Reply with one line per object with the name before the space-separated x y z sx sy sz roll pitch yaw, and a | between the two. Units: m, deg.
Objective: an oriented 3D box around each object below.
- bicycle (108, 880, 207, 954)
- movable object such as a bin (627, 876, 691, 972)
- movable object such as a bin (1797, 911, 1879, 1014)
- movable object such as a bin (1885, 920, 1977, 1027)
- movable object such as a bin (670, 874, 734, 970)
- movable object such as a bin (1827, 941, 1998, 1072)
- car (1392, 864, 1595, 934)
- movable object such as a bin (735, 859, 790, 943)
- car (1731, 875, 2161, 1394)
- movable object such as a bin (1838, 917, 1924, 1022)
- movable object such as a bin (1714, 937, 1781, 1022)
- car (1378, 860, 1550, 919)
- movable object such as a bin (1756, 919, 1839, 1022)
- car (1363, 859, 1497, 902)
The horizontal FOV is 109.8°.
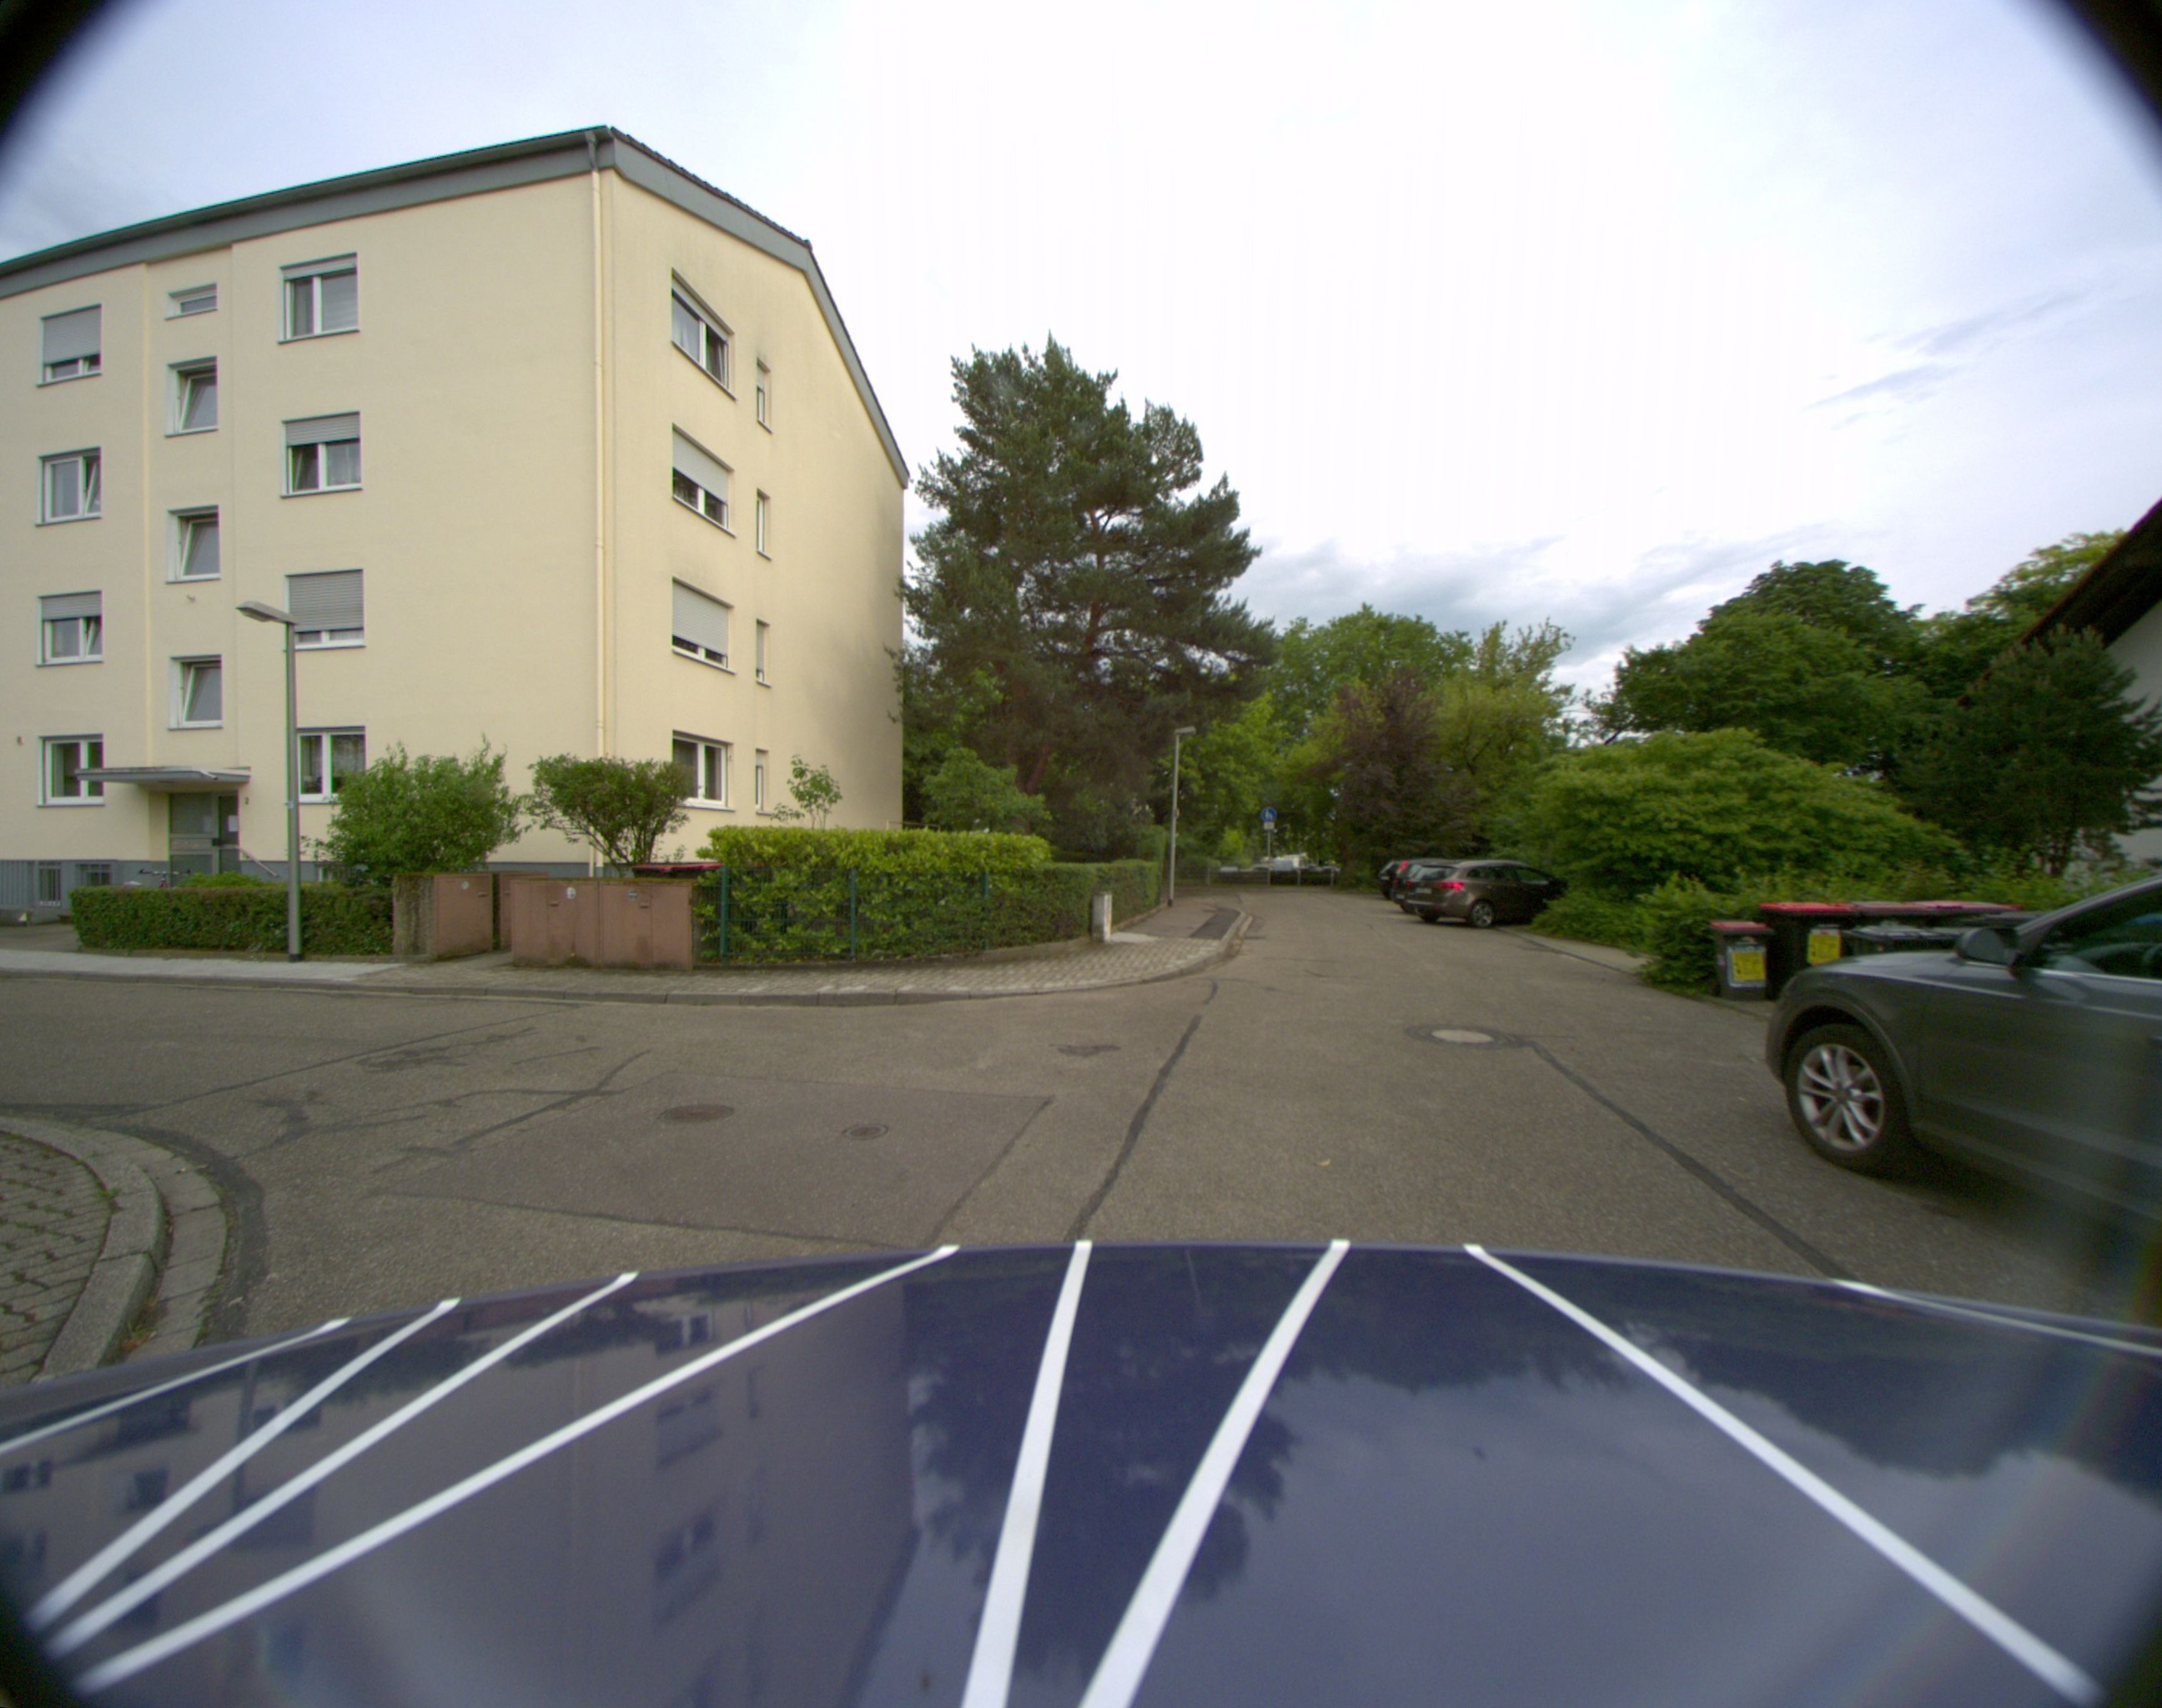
bicycle | -14.096 0.951 11.601 1.415 1.069 0.319 1 2 12
movable object such as a bin | -5.442 0.889 9.813 0.514 1.181 0.507 0 1 10
movable object such as a bin | 7.904 1.119 7.947 0.337 0.988 0.539 0 2 9
movable object such as a bin | 8.678 1.203 7.774 0.337 0.988 0.539 0 2 9
movable object such as a bin | -4.851 0.853 9.733 0.514 1.180 0.507 0 -1 10
movable object such as a bin | 7.003 1.261 6.441 0.722 0.948 0.641 0 2 11
car | 9.496 0.988 17.570 4.002 1.482 1.699 0 1 -14
movable object such as a bin | -4.520 0.651 10.790 0.514 1.158 0.507 0 -1 10
car | 4.174 0.923 2.063 1.744 1.522 4.254 2 1 11
movable object such as a bin | 8.258 1.172 7.857 0.337 0.988 0.539 0 2 9
movable object such as a bin | 7.111 1.325 8.118 0.379 0.832 0.387 0 2 9
car | 10.312 0.920 20.547 4.002 1.482 1.699 0 1 -14
movable object such as a bin | 7.540 1.208 8.013 0.379 0.988 0.539 0 2 9
car | 12.038 0.885 26.269 4.002 1.367 1.699 0 1 -14
